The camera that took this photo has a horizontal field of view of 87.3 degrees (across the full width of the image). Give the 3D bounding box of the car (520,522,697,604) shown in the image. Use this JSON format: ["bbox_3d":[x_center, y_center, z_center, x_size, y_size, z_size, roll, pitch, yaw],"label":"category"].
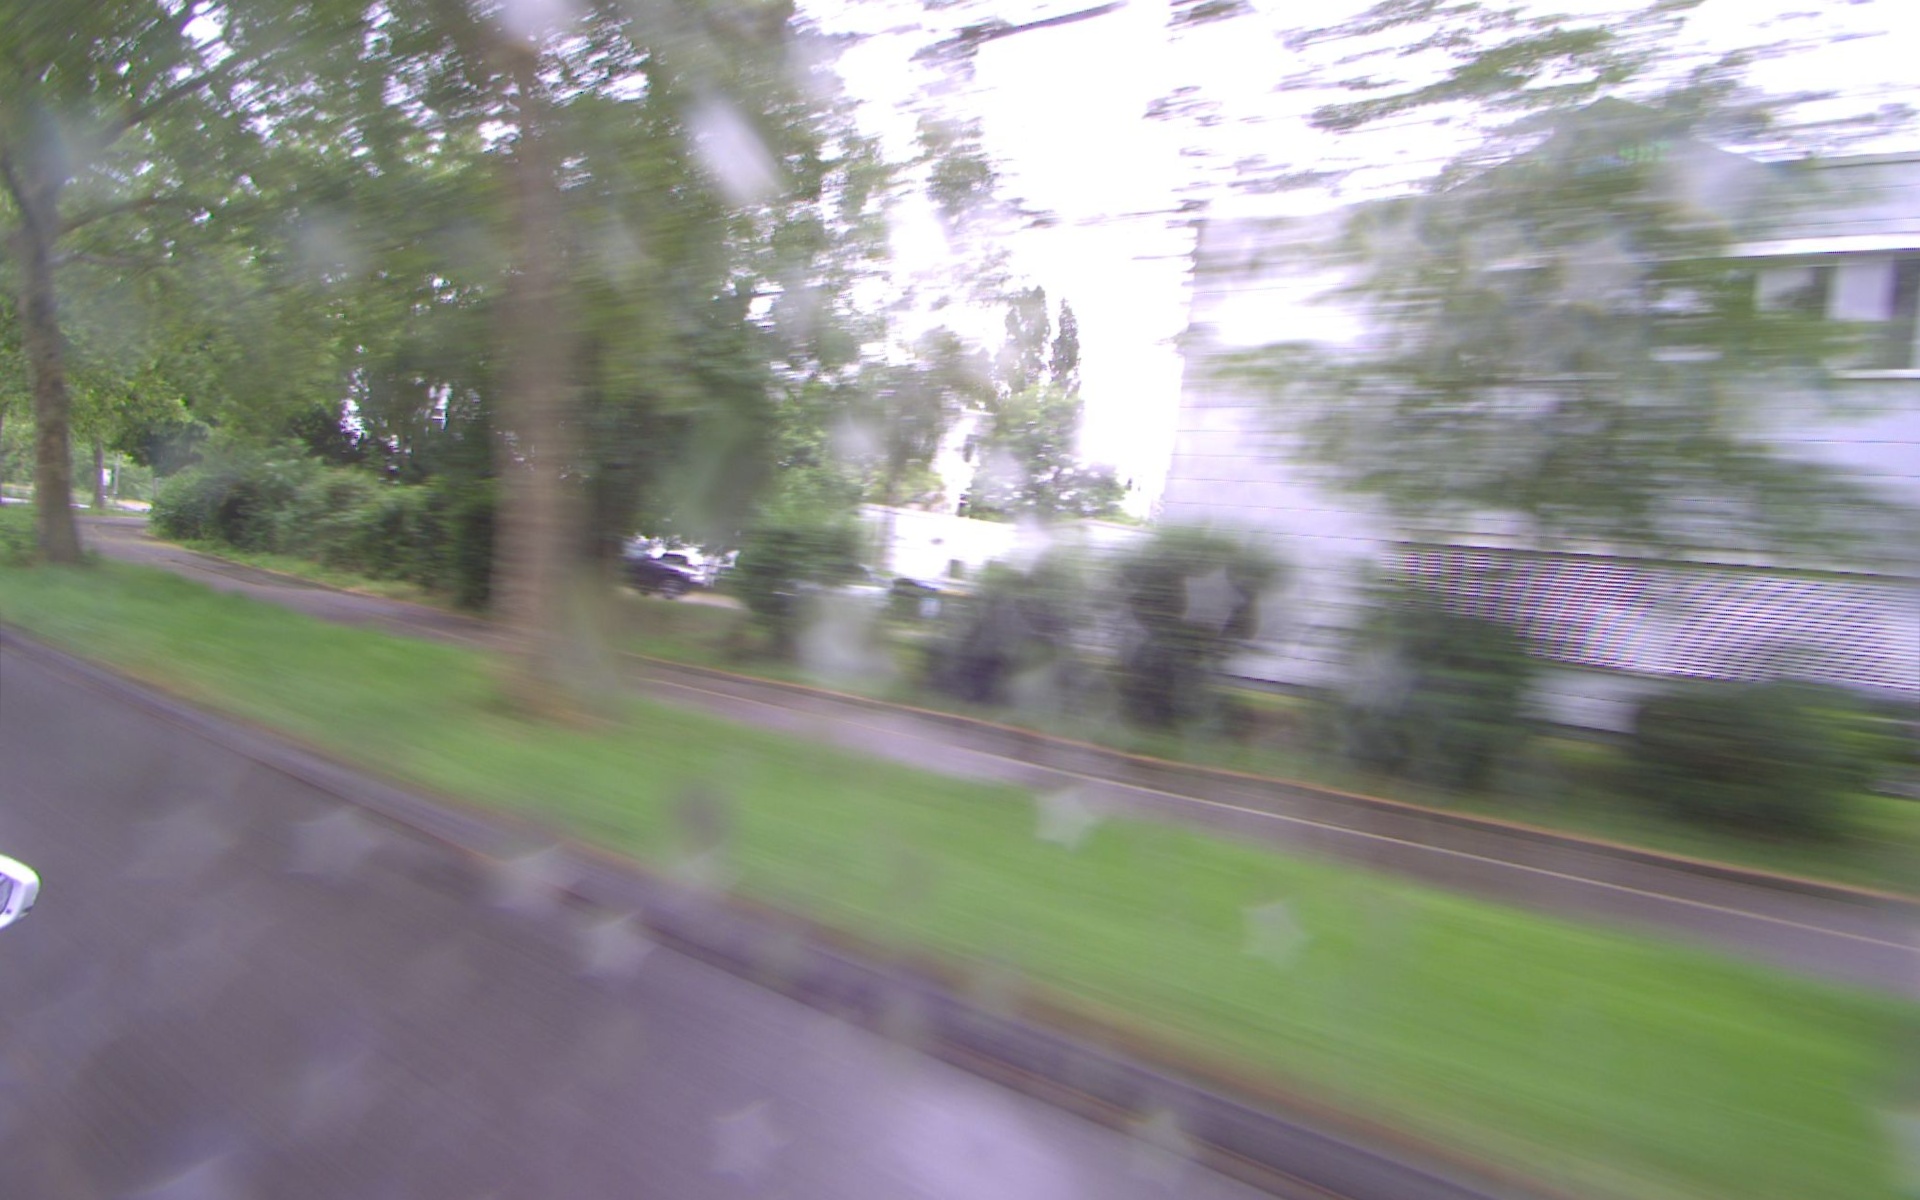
[{"bbox_3d":[-9.613,-0.982,27.731,1.745,1.500,4.137,10,0,45],"label":"car"}]

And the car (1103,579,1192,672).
[{"bbox_3d":[4.604,0.688,24.793,1.735,1.852,4.604,8,-1,11],"label":"car"}]

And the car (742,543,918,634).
[{"bbox_3d":[-2.936,-0.210,23.688,1.739,1.500,4.151,10,0,31],"label":"car"}]

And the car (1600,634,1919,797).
[{"bbox_3d":[11.982,1.678,14.790,4.087,1.600,1.766,10,0,31],"label":"car"}]
